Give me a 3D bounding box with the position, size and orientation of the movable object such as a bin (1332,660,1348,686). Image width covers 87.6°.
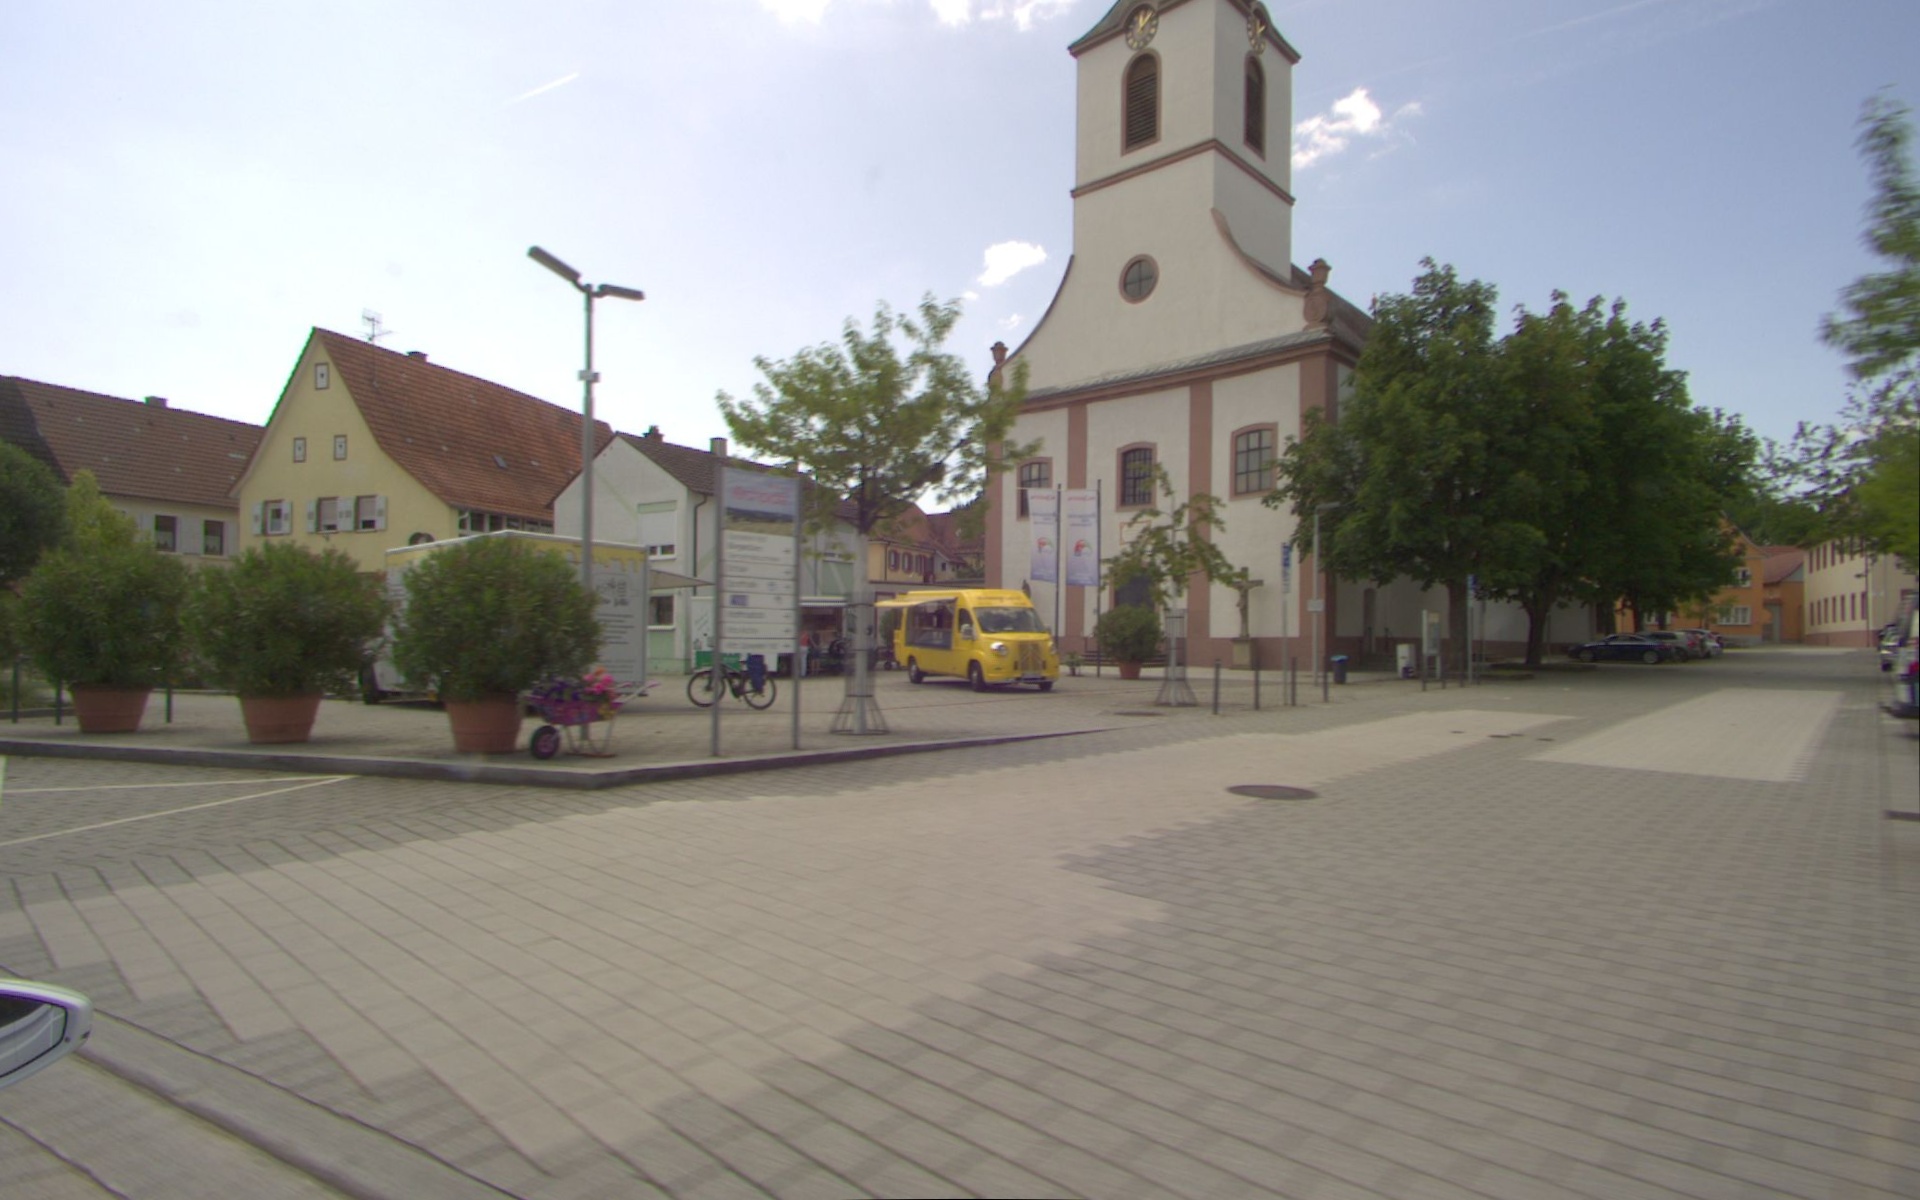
[{"bbox_3d":[10.357,1.991,27.290,0.360,0.708,0.293,0,-1,31],"label":"movable object such as a bin"}]

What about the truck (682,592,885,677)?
[{"bbox_3d":[-5.720,1.182,33.602,2.915,2.529,6.792,0,-2,32],"label":"truck"}]

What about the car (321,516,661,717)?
[{"bbox_3d":[-8.695,0.407,18.176,7.027,2.999,2.743,-2,-4,39],"label":"car"}]

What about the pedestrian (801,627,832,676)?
[{"bbox_3d":[-4.610,1.638,32.079,0.803,1.560,0.558,0,-2,33],"label":"pedestrian"}]

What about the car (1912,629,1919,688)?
[{"bbox_3d":[28.422,1.566,25.911,5.435,1.592,1.983,-1,-3,43],"label":"car"}]

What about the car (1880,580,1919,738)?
[{"bbox_3d":[14.758,0.755,12.021,5.435,2.039,1.983,-1,-3,43],"label":"car"}]

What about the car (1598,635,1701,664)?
[{"bbox_3d":[32.159,2.285,46.734,3.810,1.244,1.717,-1,-3,42],"label":"car"}]

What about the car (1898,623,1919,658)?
[{"bbox_3d":[47.640,2.010,49.182,5.442,1.693,1.981,3,-3,-43],"label":"car"}]

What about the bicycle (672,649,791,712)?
[{"bbox_3d":[-4.246,1.467,18.582,2.075,1.082,0.755,0,-2,21],"label":"bicycle"}]

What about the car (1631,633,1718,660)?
[{"bbox_3d":[41.360,2.672,58.033,3.954,1.523,1.984,-1,-2,41],"label":"car"}]

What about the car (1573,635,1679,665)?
[{"bbox_3d":[30.023,2.236,45.208,3.810,1.244,1.717,-1,-3,42],"label":"car"}]

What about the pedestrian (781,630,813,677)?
[{"bbox_3d":[-5.111,1.661,31.348,0.750,1.460,0.642,-1,-1,31],"label":"pedestrian"}]

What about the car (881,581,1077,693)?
[{"bbox_3d":[0.229,0.967,26.205,2.610,2.508,6.945,1,-2,-22],"label":"car"}]

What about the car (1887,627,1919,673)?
[{"bbox_3d":[37.029,1.921,38.276,5.442,1.693,1.981,3,-3,-43],"label":"car"}]

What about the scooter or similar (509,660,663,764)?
[{"bbox_3d":[-3.567,1.038,9.608,0.803,0.892,1.140,0,-2,30],"label":"scooter or similar"}]

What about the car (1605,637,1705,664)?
[{"bbox_3d":[33.521,2.416,48.316,3.810,1.244,1.717,-1,-3,42],"label":"car"}]

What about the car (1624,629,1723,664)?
[{"bbox_3d":[36.258,2.333,50.913,3.954,1.679,1.984,-1,-2,41],"label":"car"}]
